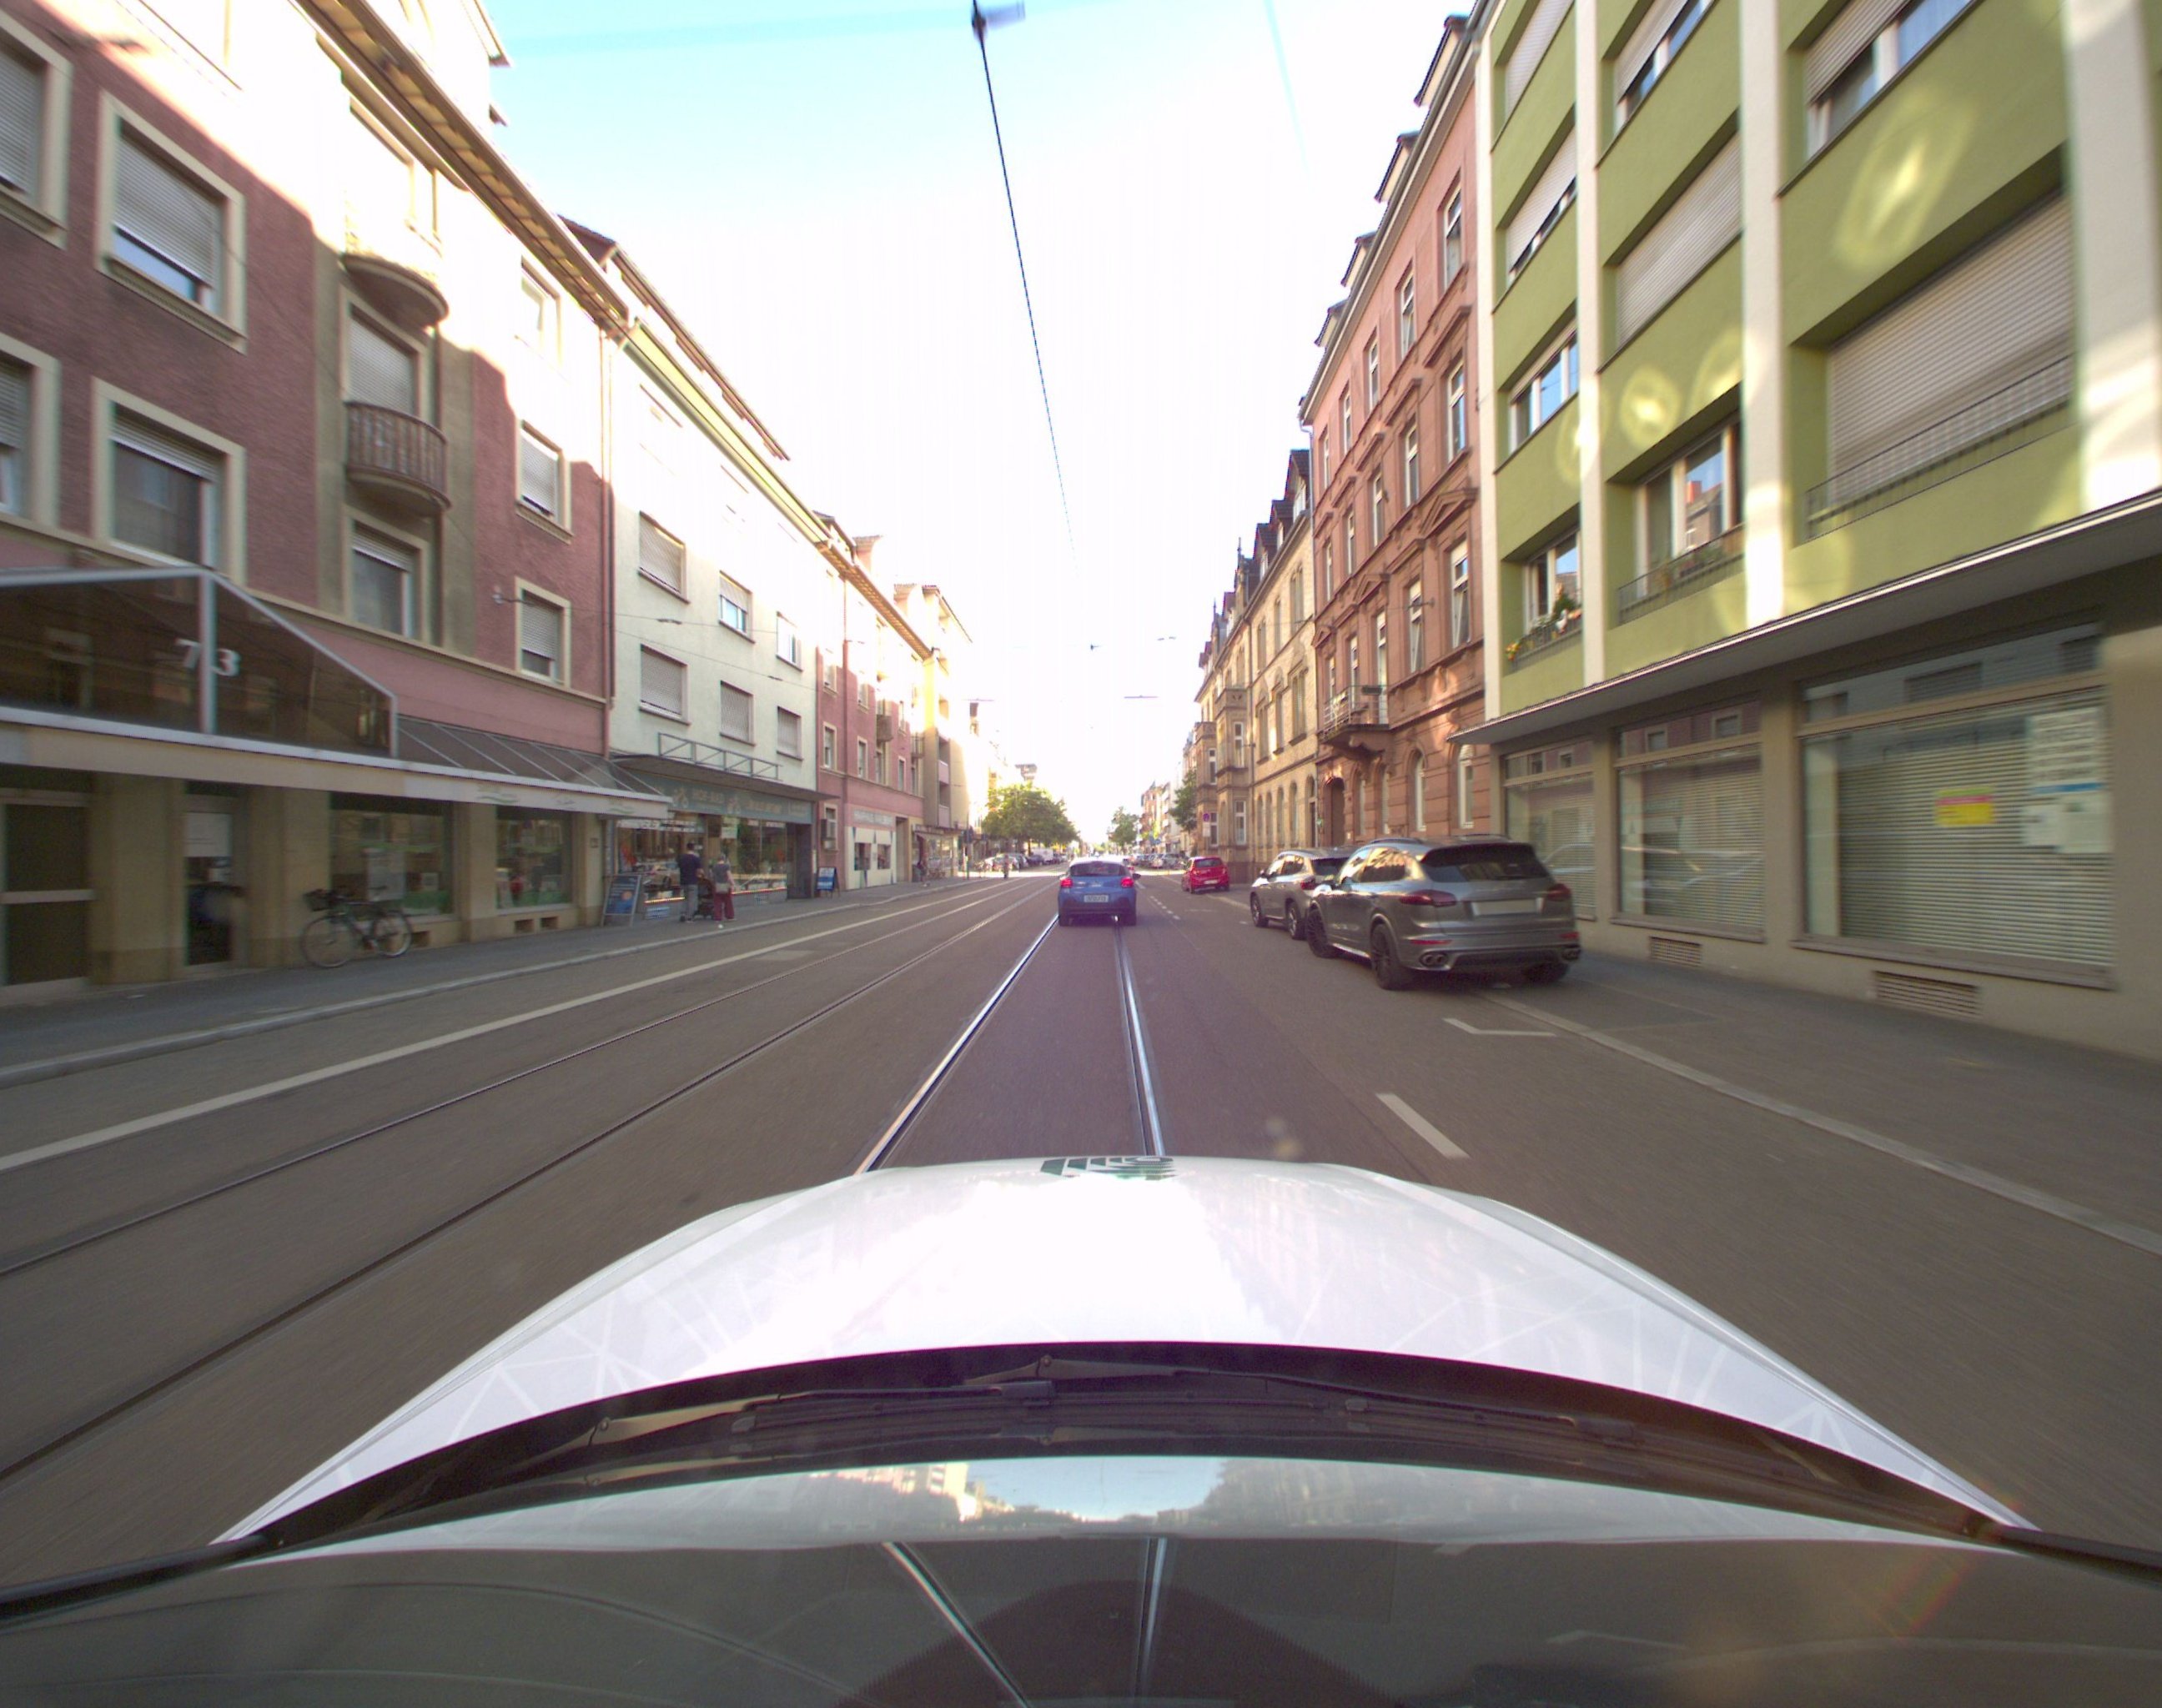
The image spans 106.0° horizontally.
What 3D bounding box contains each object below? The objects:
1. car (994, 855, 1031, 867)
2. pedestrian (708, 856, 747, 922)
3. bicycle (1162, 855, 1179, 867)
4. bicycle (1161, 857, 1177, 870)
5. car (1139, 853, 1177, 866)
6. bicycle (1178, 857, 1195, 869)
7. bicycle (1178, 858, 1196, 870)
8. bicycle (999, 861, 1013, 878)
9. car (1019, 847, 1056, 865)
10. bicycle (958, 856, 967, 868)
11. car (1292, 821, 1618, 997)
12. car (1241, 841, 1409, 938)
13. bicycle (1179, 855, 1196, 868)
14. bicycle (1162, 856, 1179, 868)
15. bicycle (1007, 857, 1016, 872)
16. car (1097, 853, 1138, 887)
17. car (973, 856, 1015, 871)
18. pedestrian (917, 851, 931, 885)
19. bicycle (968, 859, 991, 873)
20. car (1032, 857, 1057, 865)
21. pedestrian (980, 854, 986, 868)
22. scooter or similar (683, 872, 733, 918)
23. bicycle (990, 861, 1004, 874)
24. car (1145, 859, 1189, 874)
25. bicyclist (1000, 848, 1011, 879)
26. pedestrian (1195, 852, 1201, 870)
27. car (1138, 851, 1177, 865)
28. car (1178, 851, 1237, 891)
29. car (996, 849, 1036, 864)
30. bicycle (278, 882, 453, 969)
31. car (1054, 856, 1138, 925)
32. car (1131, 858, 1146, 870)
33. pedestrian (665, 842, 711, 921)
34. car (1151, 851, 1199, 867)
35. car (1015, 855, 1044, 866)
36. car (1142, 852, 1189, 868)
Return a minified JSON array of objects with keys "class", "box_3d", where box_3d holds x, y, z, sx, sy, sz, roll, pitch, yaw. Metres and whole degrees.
[{"class":"car","box_3d":[-7.843,0.784,92.732,3.850,1.430,1.752,0,-1,-24]},{"class":"pedestrian","box_3d":[-8.372,0.824,19.323,0.633,1.548,0.624,0,-1,1]},{"class":"bicycle","box_3d":[8.423,0.690,76.555,1.551,1.127,0.295,0,-1,8]},{"class":"bicycle","box_3d":[8.007,0.881,74.354,1.393,1.127,0.551,0,-1,-1]},{"class":"car","box_3d":[9.038,0.641,95.510,4.004,1.596,2.071,0,-1,-23]},{"class":"bicycle","box_3d":[9.708,0.823,74.656,1.547,1.127,0.529,0,-1,8]},{"class":"bicycle","box_3d":[9.776,0.917,75.266,1.665,1.127,0.553,0,-1,8]},{"class":"bicycle","box_3d":[-5.009,1.002,54.184,0.600,1.096,2.045,-3,-1,2]},{"class":"car","box_3d":[-6.595,0.299,123.580,5.402,2.749,1.789,0,-1,-28]},{"class":"bicycle","box_3d":[-10.998,0.776,75.535,0.404,1.109,1.825,-1,-1,-19]},{"class":"car","box_3d":[4.310,0.559,10.435,1.986,1.615,4.787,-4,-1,1]},{"class":"car","box_3d":[4.601,0.618,16.086,1.861,1.646,4.397,0,0,-2]},{"class":"bicycle","box_3d":[9.659,0.699,74.070,1.547,1.127,0.553,0,-1,8]},{"class":"bicycle","box_3d":[8.379,0.737,76.214,1.547,1.079,0.308,0,-1,8]},{"class":"bicycle","box_3d":[-6.451,0.980,75.378,0.680,1.319,2.434,0,2,-2]},{"class":"car","box_3d":[1.754,0.746,39.446,1.866,1.596,4.002,0,0,2]},{"class":"car","box_3d":[-8.719,0.944,81.253,3.804,1.400,1.737,0,-1,-31]},{"class":"pedestrian","box_3d":[-7.884,0.693,40.830,0.561,1.686,0.616,0,-1,0]},{"class":"bicycle","box_3d":[-9.383,1.103,75.023,2.405,1.109,0.688,2,2,42]},{"class":"car","box_3d":[-6.058,1.112,134.101,3.814,1.265,1.504,0,-1,-24]},{"class":"pedestrian","box_3d":[-11.796,0.879,97.863,0.567,1.652,0.641,0,-1,2]},{"class":"scooter or similar","box_3d":[-9.049,0.982,19.795,0.659,1.061,1.105,0,0,2]},{"class":"bicycle","box_3d":[-7.805,1.261,75.601,0.685,1.123,1.870,-1,2,-29]},{"class":"car","box_3d":[8.663,1.251,82.001,4.004,1.536,1.904,0,-1,-23]},{"class":"bicyclist","box_3d":[-5.031,0.644,54.366,0.609,2.014,0.734,0,-1,2]},{"class":"pedestrian","box_3d":[11.249,0.676,78.347,0.516,1.648,0.864,0,-1,2]},{"class":"car","box_3d":[9.192,0.479,98.242,4.321,1.596,1.967,0,-1,-23]},{"class":"car","box_3d":[5.282,0.701,34.561,1.859,1.483,4.402,-4,-1,1]},{"class":"car","box_3d":[-7.769,0.308,97.579,4.381,1.783,1.976,0,-1,-31]},{"class":"bicycle","box_3d":[-10.211,0.974,11.764,0.423,1.060,2.330,0,0,1]},{"class":"car","box_3d":[0.362,0.784,18.805,1.756,1.441,3.558,0,0,1]},{"class":"car","box_3d":[7.776,1.365,110.571,1.866,1.596,4.721,0,0,2]},{"class":"pedestrian","box_3d":[-9.051,0.628,18.786,0.623,1.789,0.821,0,-1,1]},{"class":"car","box_3d":[9.179,0.496,79.821,4.370,1.596,1.839,0,-1,-23]},{"class":"car","box_3d":[-7.460,0.926,117.450,3.994,1.489,1.797,0,-1,-15]},{"class":"car","box_3d":[8.852,0.645,85.581,4.453,1.596,2.072,0,-1,-23]}]
